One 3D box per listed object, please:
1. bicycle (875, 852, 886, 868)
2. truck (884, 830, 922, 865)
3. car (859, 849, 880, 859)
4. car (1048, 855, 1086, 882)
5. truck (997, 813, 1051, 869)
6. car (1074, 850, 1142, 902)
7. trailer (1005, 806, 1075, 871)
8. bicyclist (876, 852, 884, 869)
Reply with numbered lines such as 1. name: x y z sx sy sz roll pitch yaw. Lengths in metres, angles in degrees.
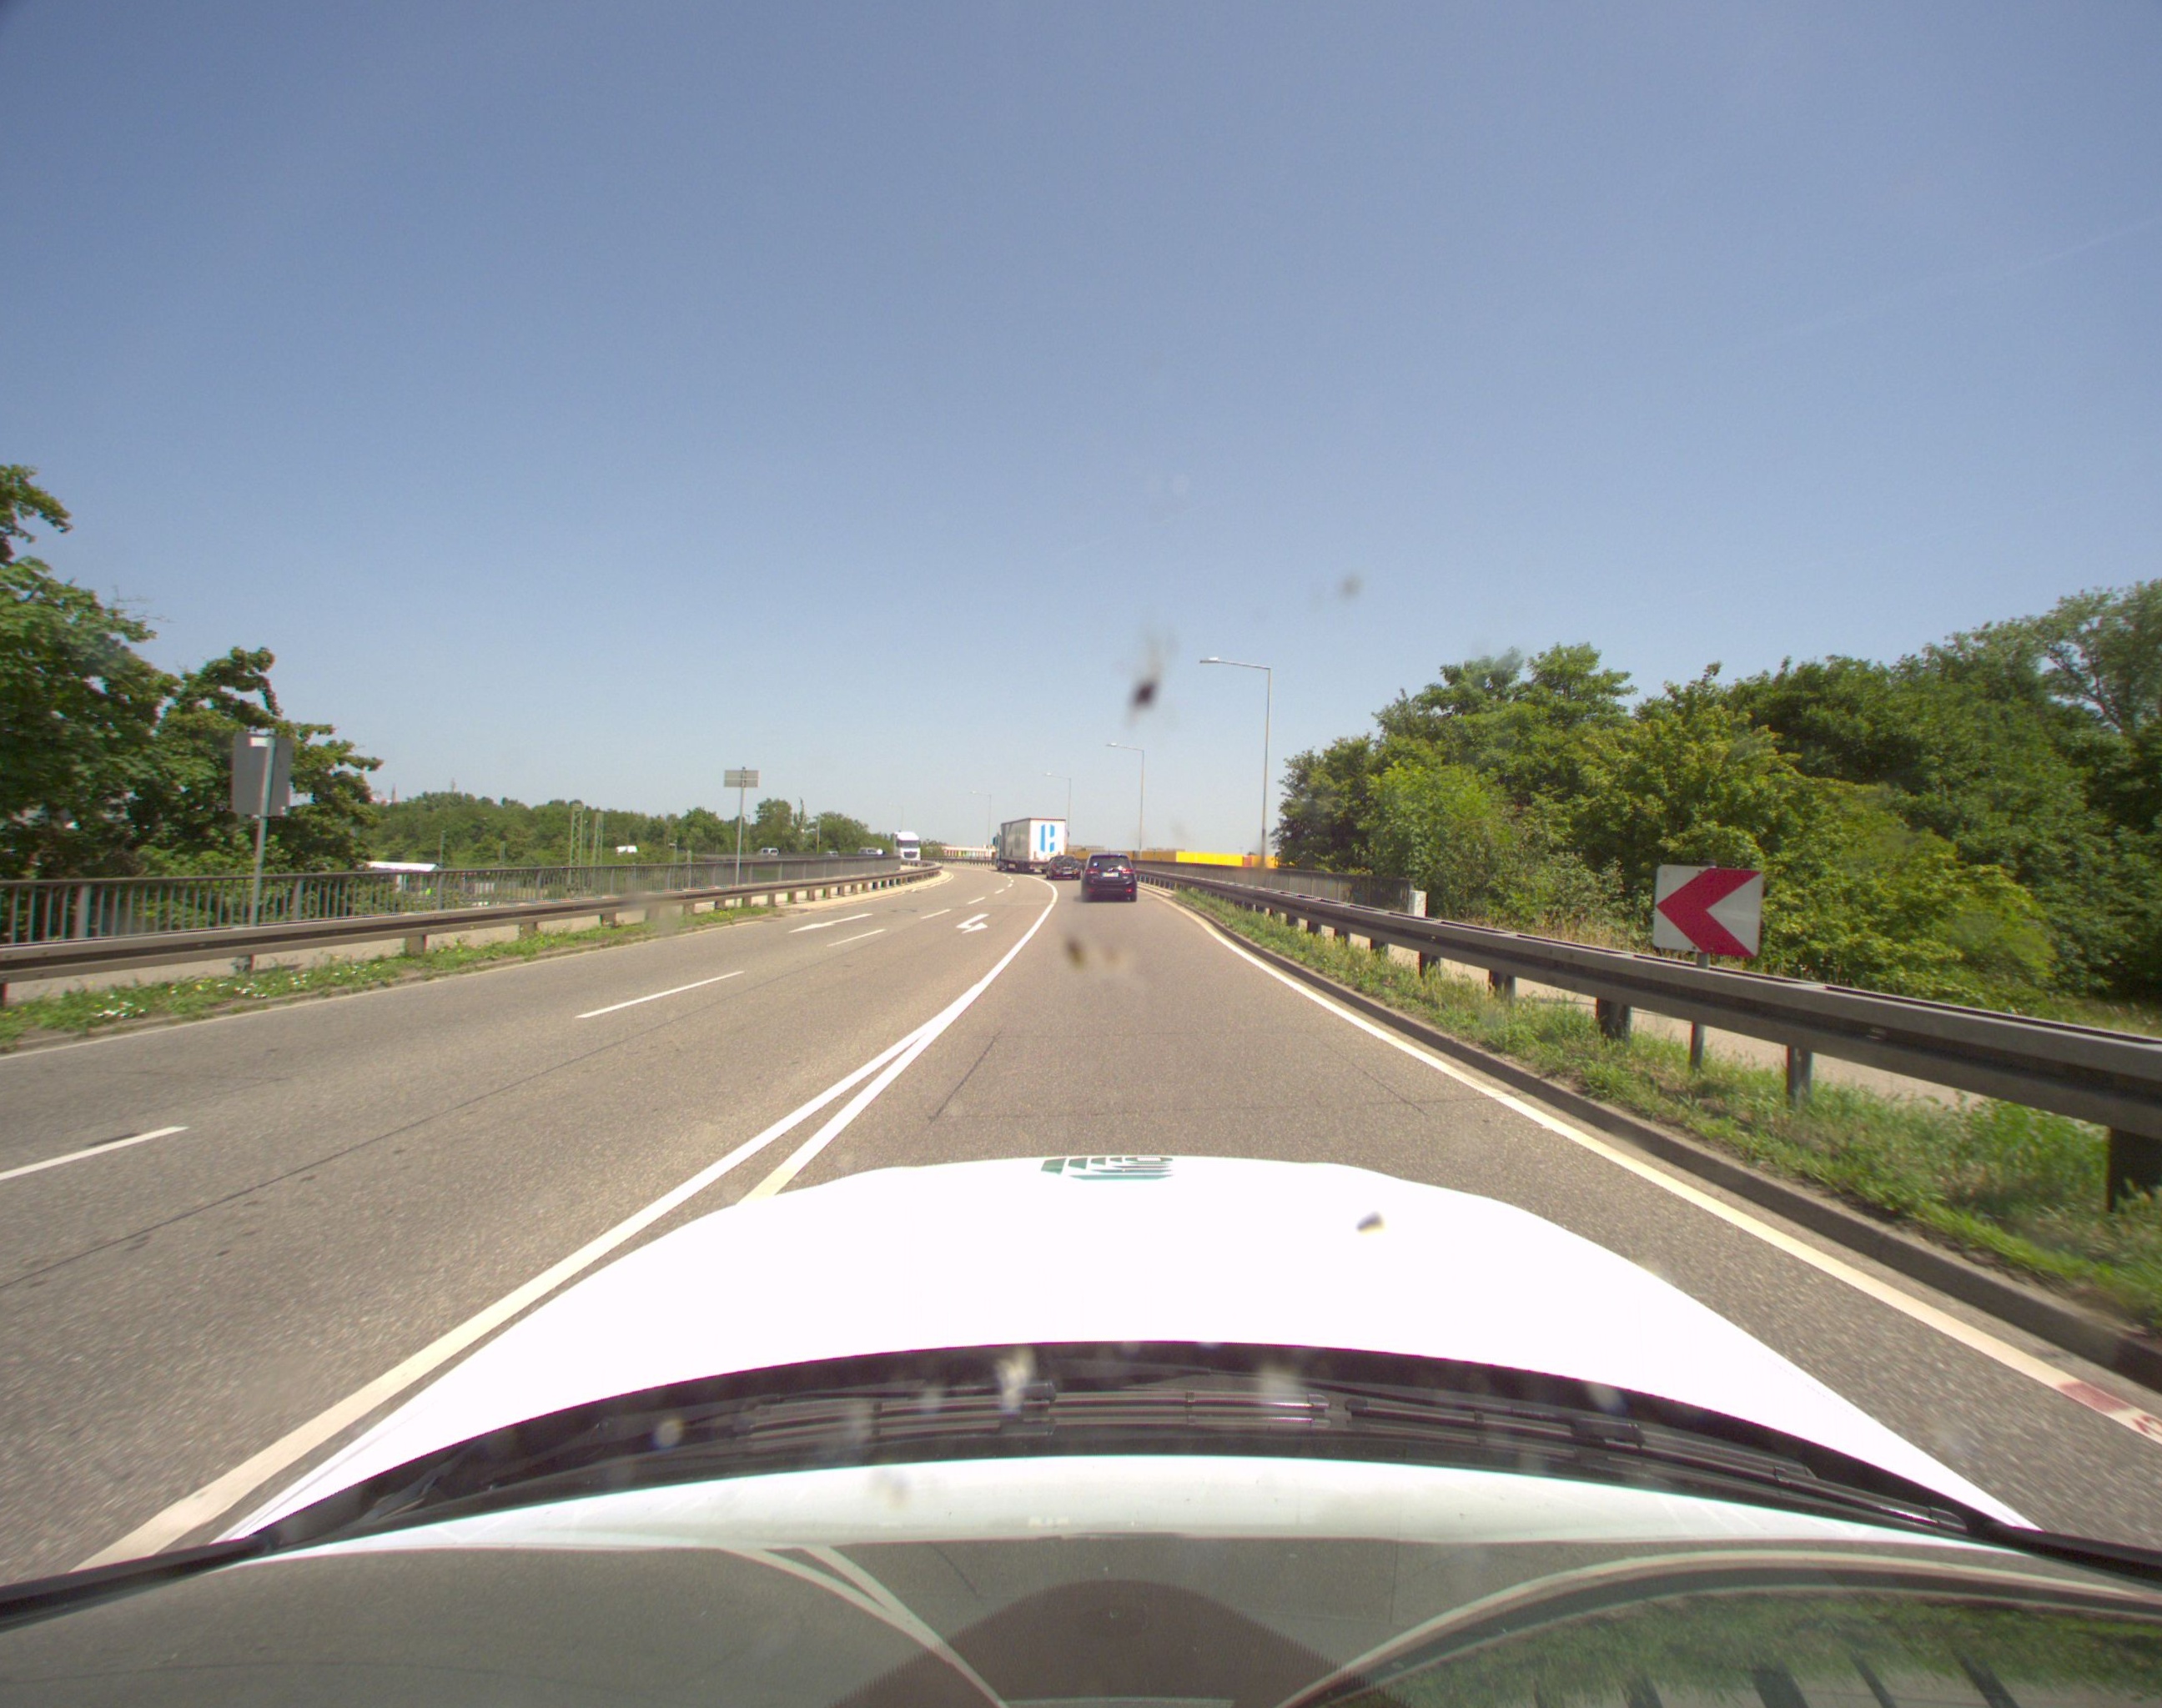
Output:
1. bicycle: -22.474 0.646 91.320 0.702 1.801 2.161 1 0 -28
2. truck: -21.419 -0.792 97.777 2.721 3.991 6.129 1 0 -28
3. car: -28.350 0.001 109.180 1.570 1.386 3.577 1 0 -34
4. car: -0.852 0.778 46.618 2.007 1.429 3.771 1 0 -4
5. truck: -4.922 -1.091 68.961 3.576 4.441 6.486 1 0 -13
6. car: 0.815 0.678 27.096 1.917 1.574 3.887 1 0 -3
7. trailer: -3.379 -1.112 62.172 3.572 4.384 11.394 1 0 -12
8. bicyclist: -22.550 0.705 91.421 0.628 1.886 0.706 1 0 -29
